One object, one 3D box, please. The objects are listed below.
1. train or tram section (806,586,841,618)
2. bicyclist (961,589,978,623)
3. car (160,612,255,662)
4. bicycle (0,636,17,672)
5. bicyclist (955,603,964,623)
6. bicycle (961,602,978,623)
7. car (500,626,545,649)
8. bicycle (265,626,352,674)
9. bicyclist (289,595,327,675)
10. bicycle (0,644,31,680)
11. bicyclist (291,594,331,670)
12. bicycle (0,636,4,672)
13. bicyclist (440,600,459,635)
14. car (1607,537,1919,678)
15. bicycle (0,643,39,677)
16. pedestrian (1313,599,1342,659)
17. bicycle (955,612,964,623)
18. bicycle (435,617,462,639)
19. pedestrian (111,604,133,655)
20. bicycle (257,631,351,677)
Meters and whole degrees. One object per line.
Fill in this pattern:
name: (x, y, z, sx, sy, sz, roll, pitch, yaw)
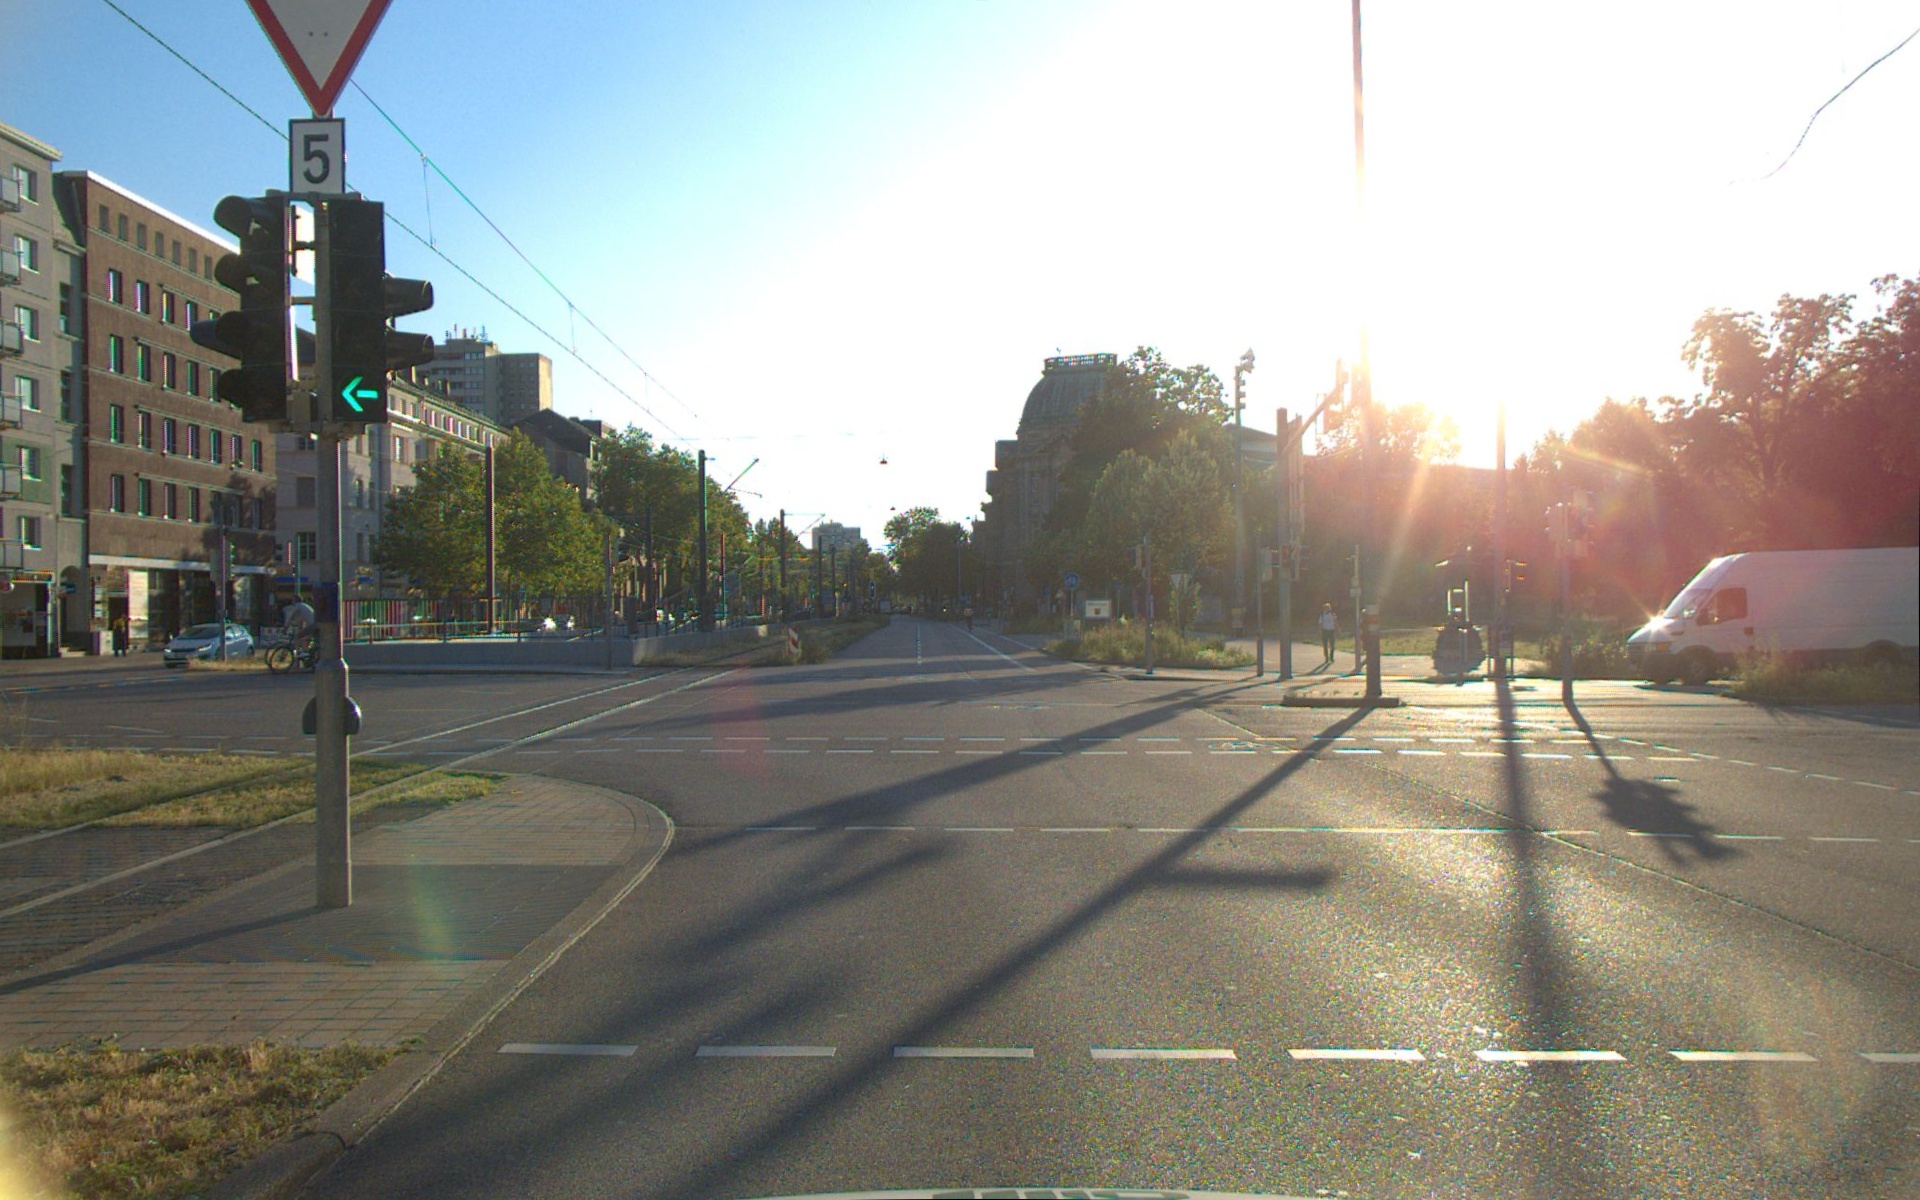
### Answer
train or tram section: (-17.565, 0.255, 212.479, 4.301, 3.917, 11.398, -1, 0, -5)
bicyclist: (0.642, 0.403, 112.179, 1.060, 2.316, 0.986, 0, -1, -1)
car: (-26.160, 1.248, 57.629, 1.655, 1.646, 3.997, -1, 0, -3)
bicycle: (-32.955, 1.834, 55.986, 1.655, 1.199, 0.748, -1, -1, 1)
bicyclist: (-0.072, 1.311, 165.090, 0.907, 2.049, 0.850, 0, -1, -1)
bicycle: (0.637, 0.837, 112.233, 1.075, 1.423, 2.831, 0, -1, -1)
car: (-29.000, 2.478, 109.710, 1.781, 1.445, 4.001, -1, 0, 3)
bicycle: (-15.403, 1.178, 39.147, 1.872, 1.094, 0.629, -1, -1, -19)
bicyclist: (-15.416, 0.819, 39.140, 0.780, 1.850, 0.643, 0, -1, -18)
bicycle: (-32.908, 2.130, 56.757, 1.655, 1.191, 0.748, -1, -1, 1)
bicyclist: (-16.082, 0.779, 40.989, 0.862, 1.850, 0.535, 0, -1, -18)
bicycle: (-32.959, 1.815, 55.230, 1.655, 1.173, 0.705, -1, -1, 1)
bicyclist: (-30.136, 1.029, 97.669, 0.780, 2.049, 0.923, -1, -1, 1)
car: (17.749, 0.151, 35.508, 6.866, 2.877, 2.093, -1, 0, 1)
bicycle: (-33.044, 2.093, 57.491, 1.655, 1.164, 0.697, -1, -1, 1)
pedestrian: (11.237, 0.882, 50.574, 0.815, 1.835, 0.811, -1, 0, 14)
bicycle: (-0.056, 1.719, 165.052, 0.905, 1.131, 2.332, 0, -1, -1)
bicycle: (-30.134, 1.630, 97.497, 0.796, 1.222, 2.413, -1, 0, 1)
pedestrian: (-36.776, 1.277, 72.588, 0.589, 2.216, 0.792, -1, -1, -1)
bicycle: (-16.223, 1.320, 40.929, 2.130, 1.102, 0.536, 0, -1, -18)
